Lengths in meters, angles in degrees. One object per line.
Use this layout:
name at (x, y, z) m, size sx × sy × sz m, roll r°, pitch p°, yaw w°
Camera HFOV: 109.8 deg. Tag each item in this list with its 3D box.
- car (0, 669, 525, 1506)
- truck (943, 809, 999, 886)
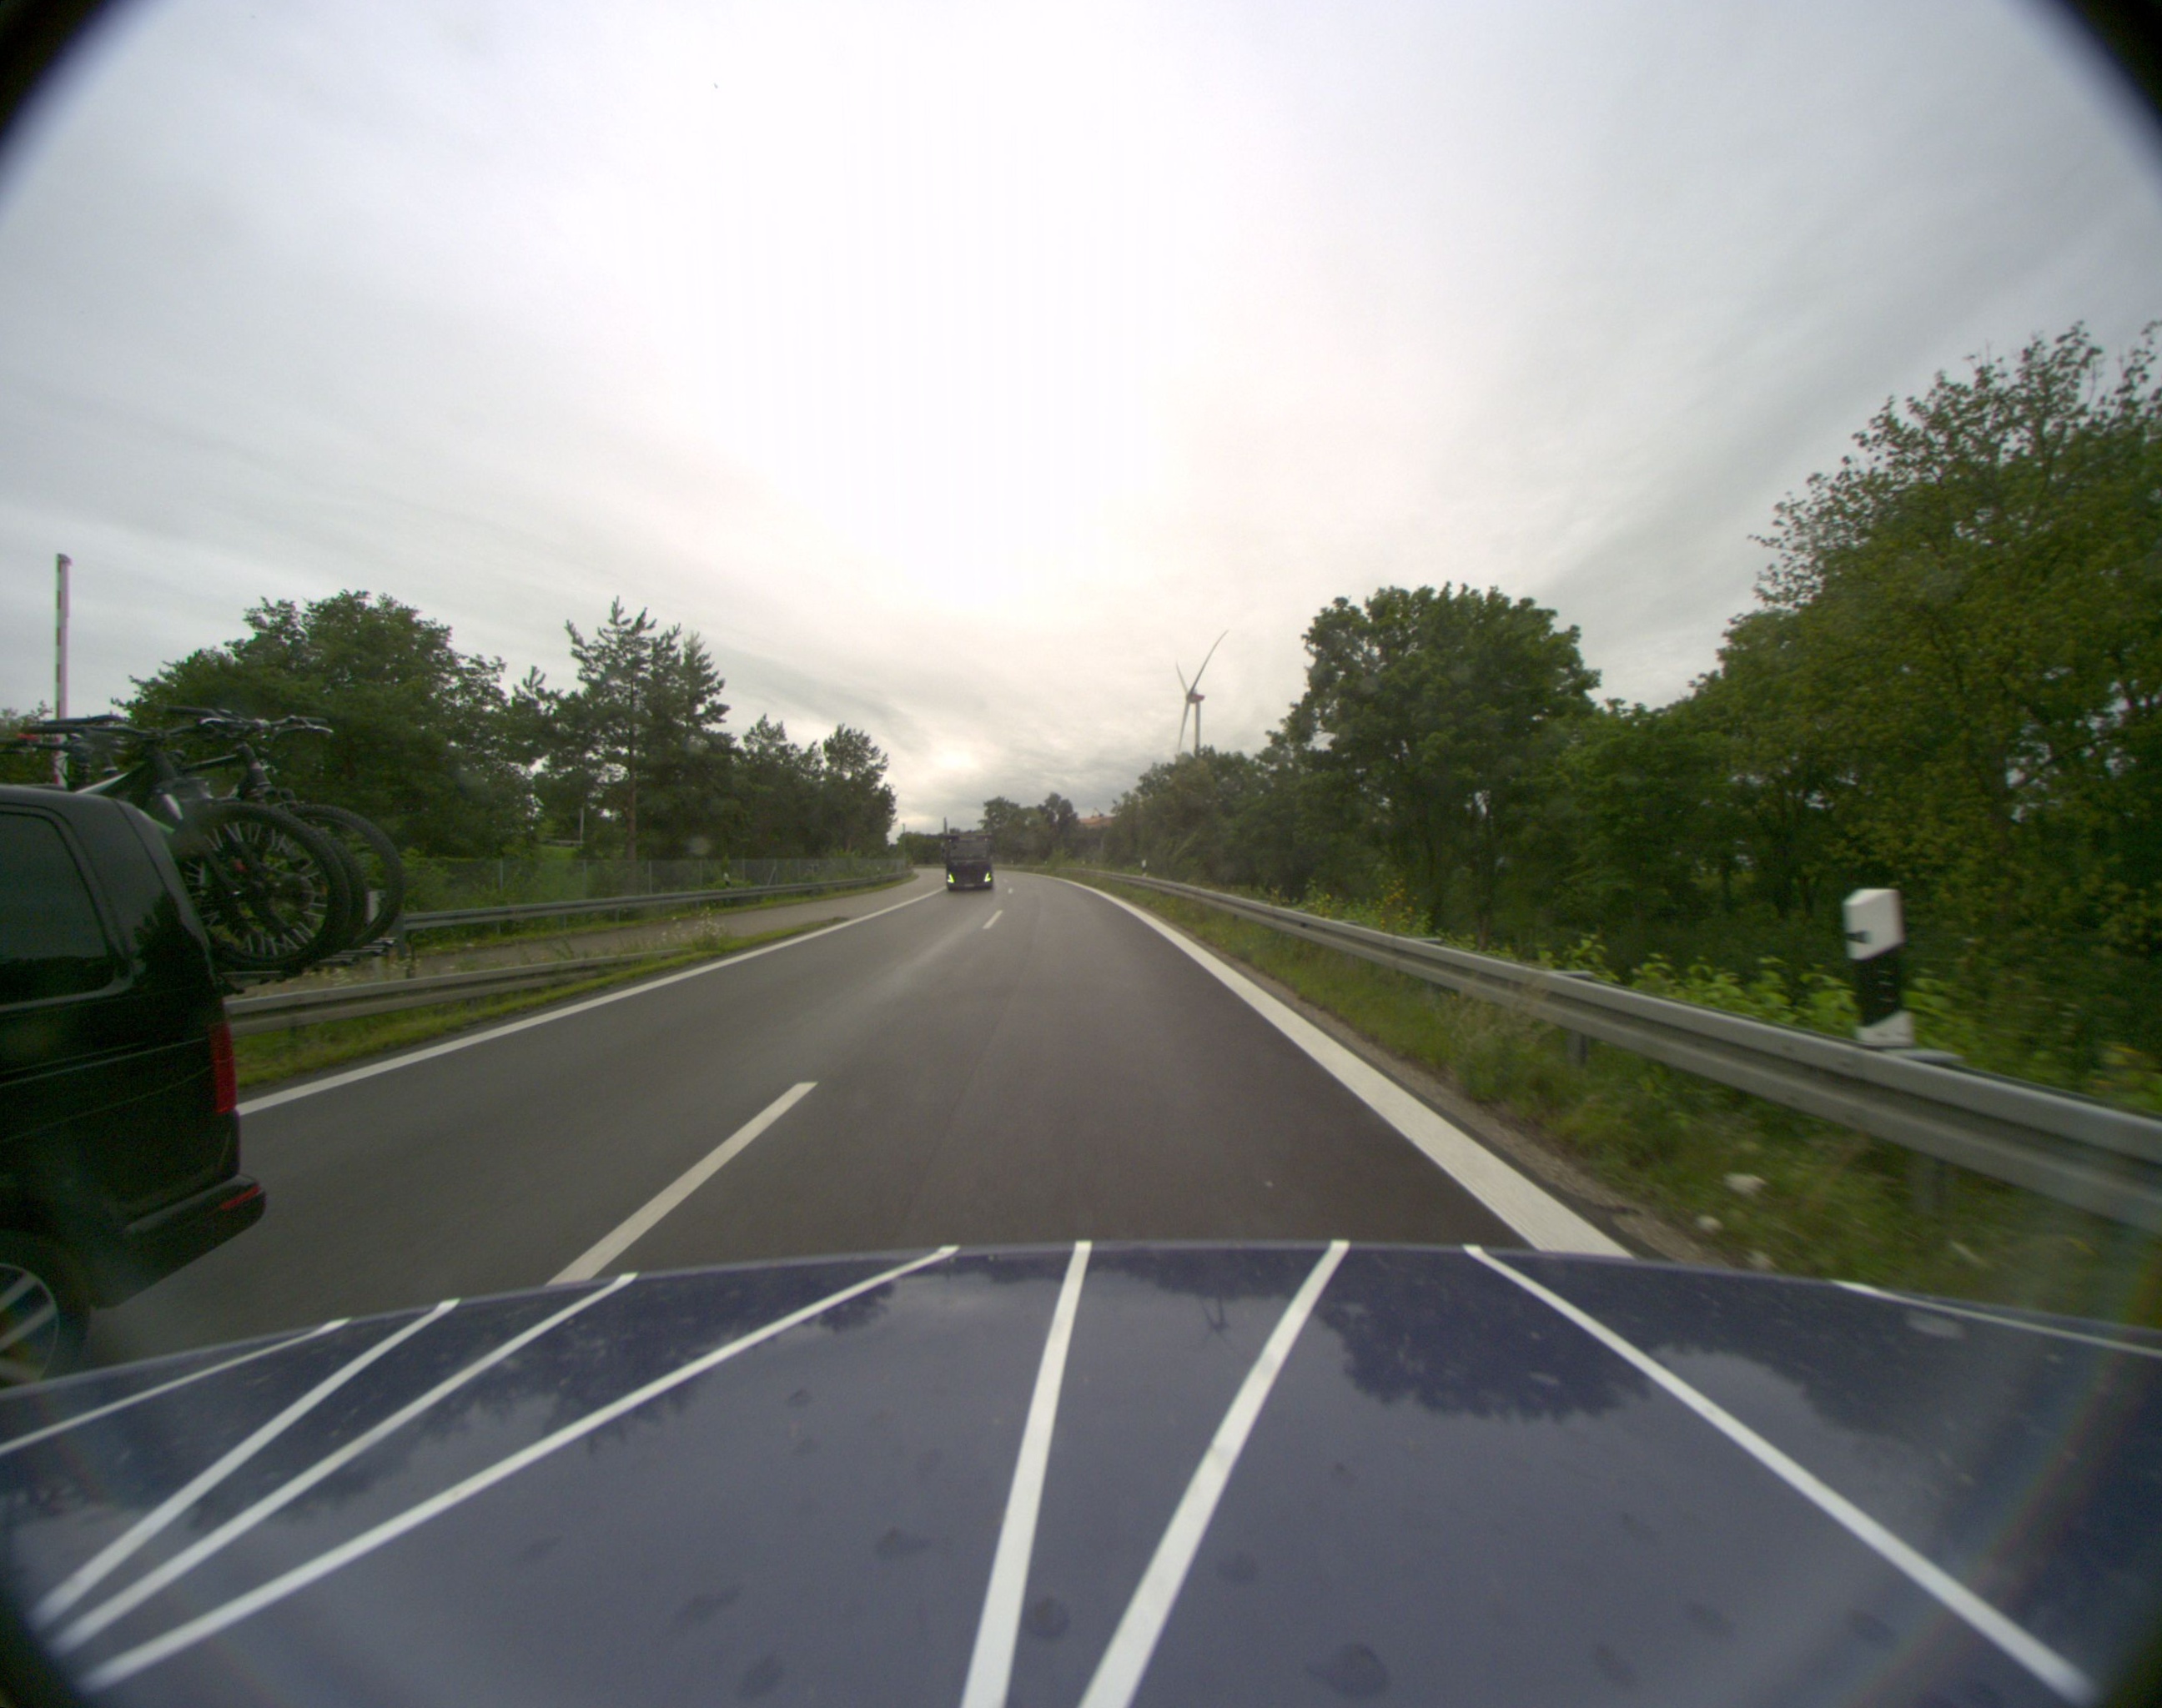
car at (-3.989, 0.666, 0.974) m, size 2.115 × 2.251 × 5.896 m, roll -3°, pitch 0°, yaw 0°
truck at (-6.297, -0.323, 44.435) m, size 2.747 × 3.944 × 9.123 m, roll -3°, pitch 0°, yaw -7°
